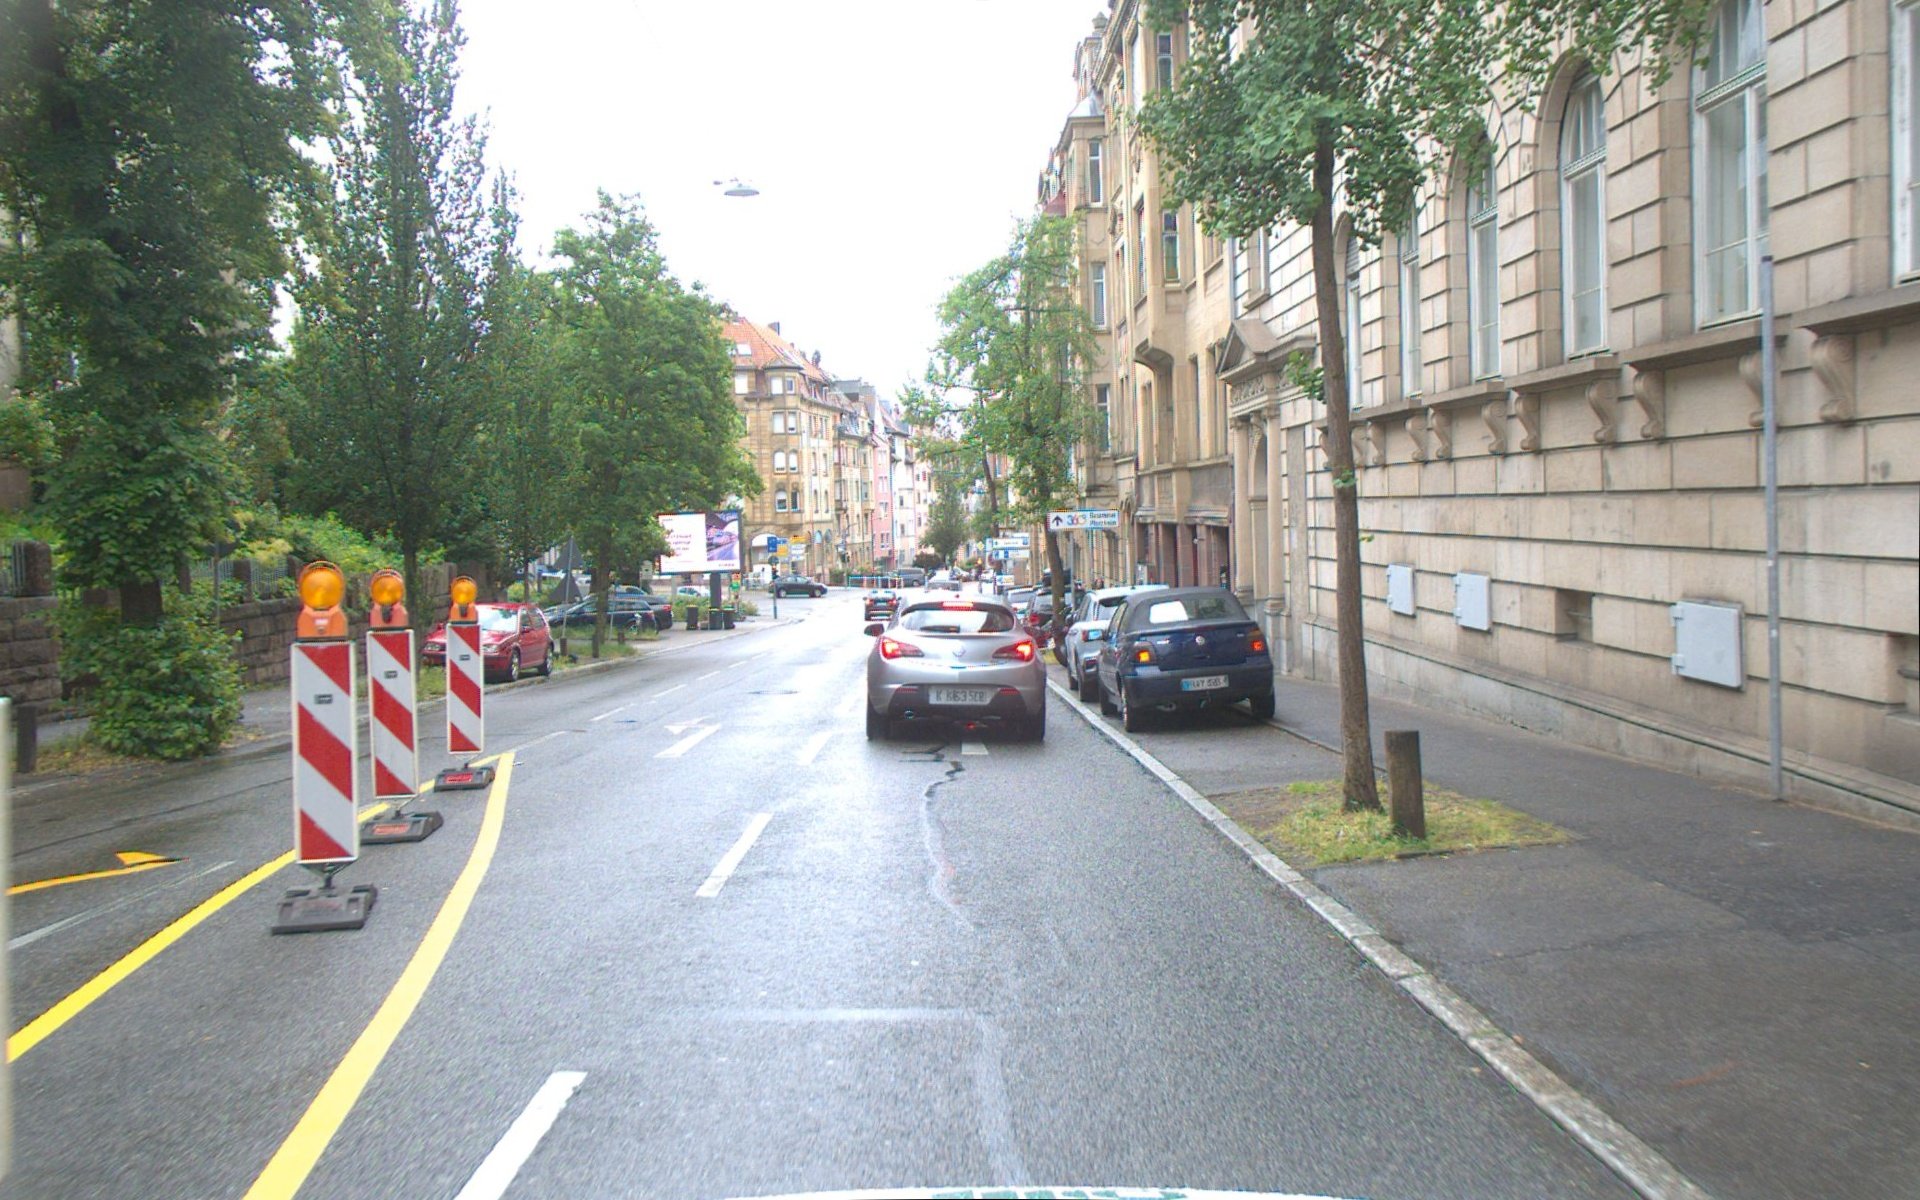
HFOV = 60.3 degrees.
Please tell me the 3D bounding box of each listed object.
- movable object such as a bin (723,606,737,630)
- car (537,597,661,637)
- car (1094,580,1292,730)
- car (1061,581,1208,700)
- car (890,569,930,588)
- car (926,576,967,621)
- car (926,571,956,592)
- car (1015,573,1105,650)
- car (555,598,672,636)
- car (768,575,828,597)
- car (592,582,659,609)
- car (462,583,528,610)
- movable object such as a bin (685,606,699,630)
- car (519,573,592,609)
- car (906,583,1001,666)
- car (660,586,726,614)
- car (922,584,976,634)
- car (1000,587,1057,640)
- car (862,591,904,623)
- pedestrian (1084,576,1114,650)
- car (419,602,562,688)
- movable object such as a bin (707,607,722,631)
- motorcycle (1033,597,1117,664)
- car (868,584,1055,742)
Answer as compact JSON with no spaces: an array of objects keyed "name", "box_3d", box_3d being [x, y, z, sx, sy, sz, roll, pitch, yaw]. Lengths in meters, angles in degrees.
[{"name":"movable object such as a bin","box_3d":[-10.584,0.840,76.114,0.646,1.077,0.626,1,0,-9]},{"name":"car","box_3d":[-13.274,0.599,60.807,4.246,1.265,1.633,-2,1,-20]},{"name":"car","box_3d":[2.498,0.539,18.415,1.604,1.454,3.376,-2,1,-2]},{"name":"car","box_3d":[2.398,0.512,23.527,1.604,1.494,3.857,-2,1,-1]},{"name":"car","box_3d":[-5.031,-2.196,166.933,3.906,1.780,2.000,1,0,-1]},{"name":"car","box_3d":[-0.567,-0.068,69.506,1.623,1.813,3.665,-1,0,-1]},{"name":"car","box_3d":[-1.611,-1.567,141.881,1.951,1.713,4.003,1,0,9]},{"name":"car","box_3d":[2.263,0.228,38.360,1.605,1.630,3.855,-2,1,-3]},{"name":"car","box_3d":[-13.376,0.654,63.835,4.246,1.265,1.633,-2,1,-20]},{"name":"car","box_3d":[-11.709,-1.017,119.771,4.142,1.612,1.939,0,1,-1]},{"name":"car","box_3d":[-21.895,-0.284,108.254,3.902,1.780,1.754,0,-1,15]},{"name":"car","box_3d":[-31.168,-0.207,110.964,3.902,1.780,1.754,0,-1,15]},{"name":"movable object such as a bin","box_3d":[-12.157,0.796,75.050,0.613,1.077,0.633,1,0,-7]},{"name":"car","box_3d":[-28.403,-0.622,116.134,4.605,2.485,2.001,0,-1,15]},{"name":"car","box_3d":[-0.182,0.443,33.186,1.736,1.530,3.867,0,1,-3]},{"name":"car","box_3d":[-17.291,0.030,107.095,3.904,1.780,1.753,0,-1,20]},{"name":"car","box_3d":[-0.409,0.305,57.762,1.624,1.569,3.663,-4,0,-3]},{"name":"car","box_3d":[2.161,0.401,53.120,1.604,1.551,3.857,-2,1,-1]},{"name":"car","box_3d":[-3.918,0.330,84.782,1.953,1.527,3.999,-1,0,-1]},{"name":"pedestrian","box_3d":[3.623,0.334,43.089,0.701,1.903,0.635,0,-1,-1]},{"name":"car","box_3d":[-9.091,0.825,32.336,1.604,1.464,4.079,-2,1,-1]},{"name":"movable object such as a bin","box_3d":[-11.146,0.868,75.006,0.613,1.077,0.719,1,0,-7]},{"name":"motorcycle","box_3d":[2.245,0.583,31.976,0.645,1.257,1.973,0,-1,38]},{"name":"car","box_3d":[-0.040,0.579,17.680,1.774,1.475,3.868,0,1,-2]}]
